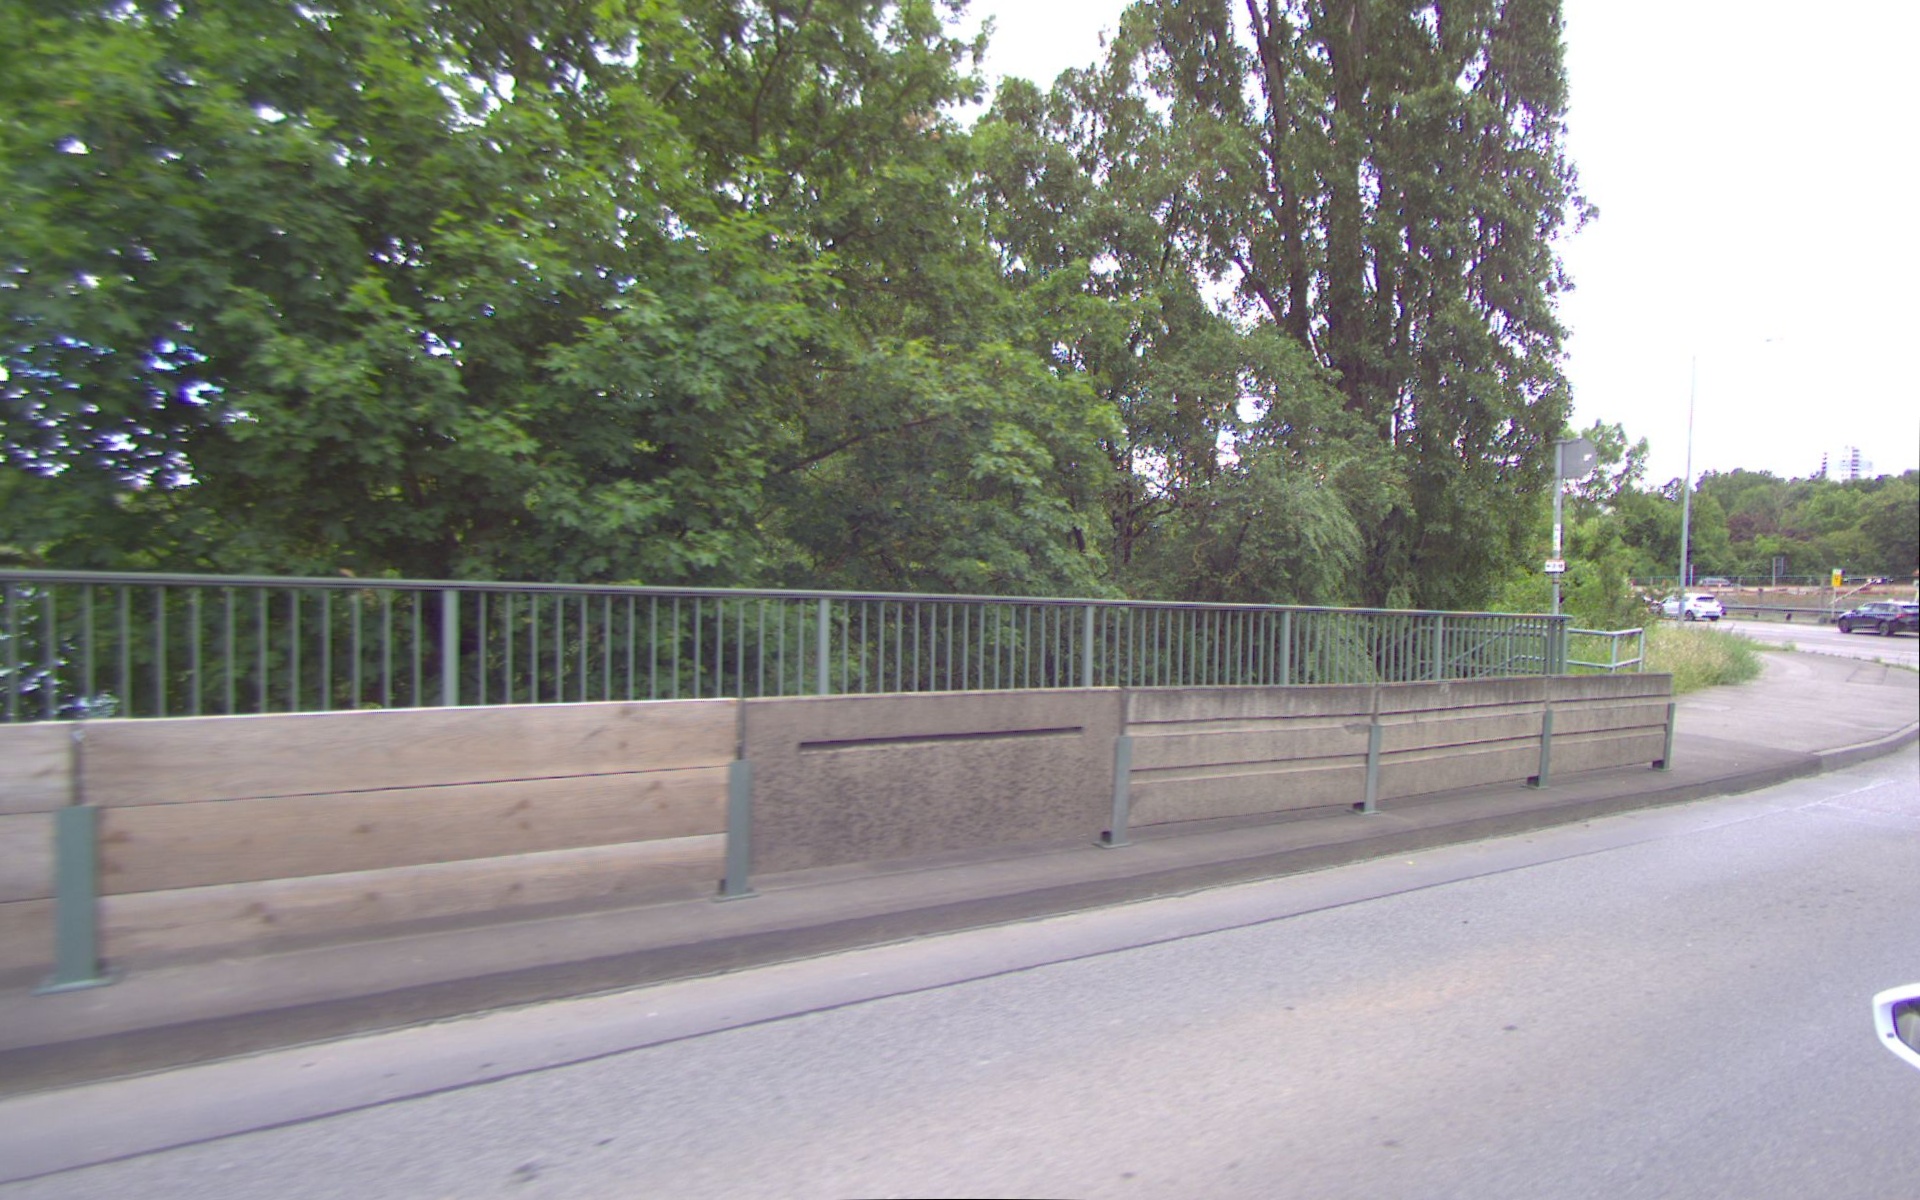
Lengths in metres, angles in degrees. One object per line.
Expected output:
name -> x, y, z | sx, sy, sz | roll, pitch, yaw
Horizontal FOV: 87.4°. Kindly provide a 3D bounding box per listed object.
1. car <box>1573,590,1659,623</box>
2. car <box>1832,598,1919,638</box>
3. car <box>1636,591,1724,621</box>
car -> 37.151, 0.342, 56.969 | 1.769, 1.574, 3.990 | -4, 3, -12
car -> 40.241, 0.752, 43.732 | 1.651, 1.628, 4.310 | 1, 1, 15
car -> 41.165, 0.321, 57.538 | 1.653, 1.628, 4.305 | 0, 1, -5
